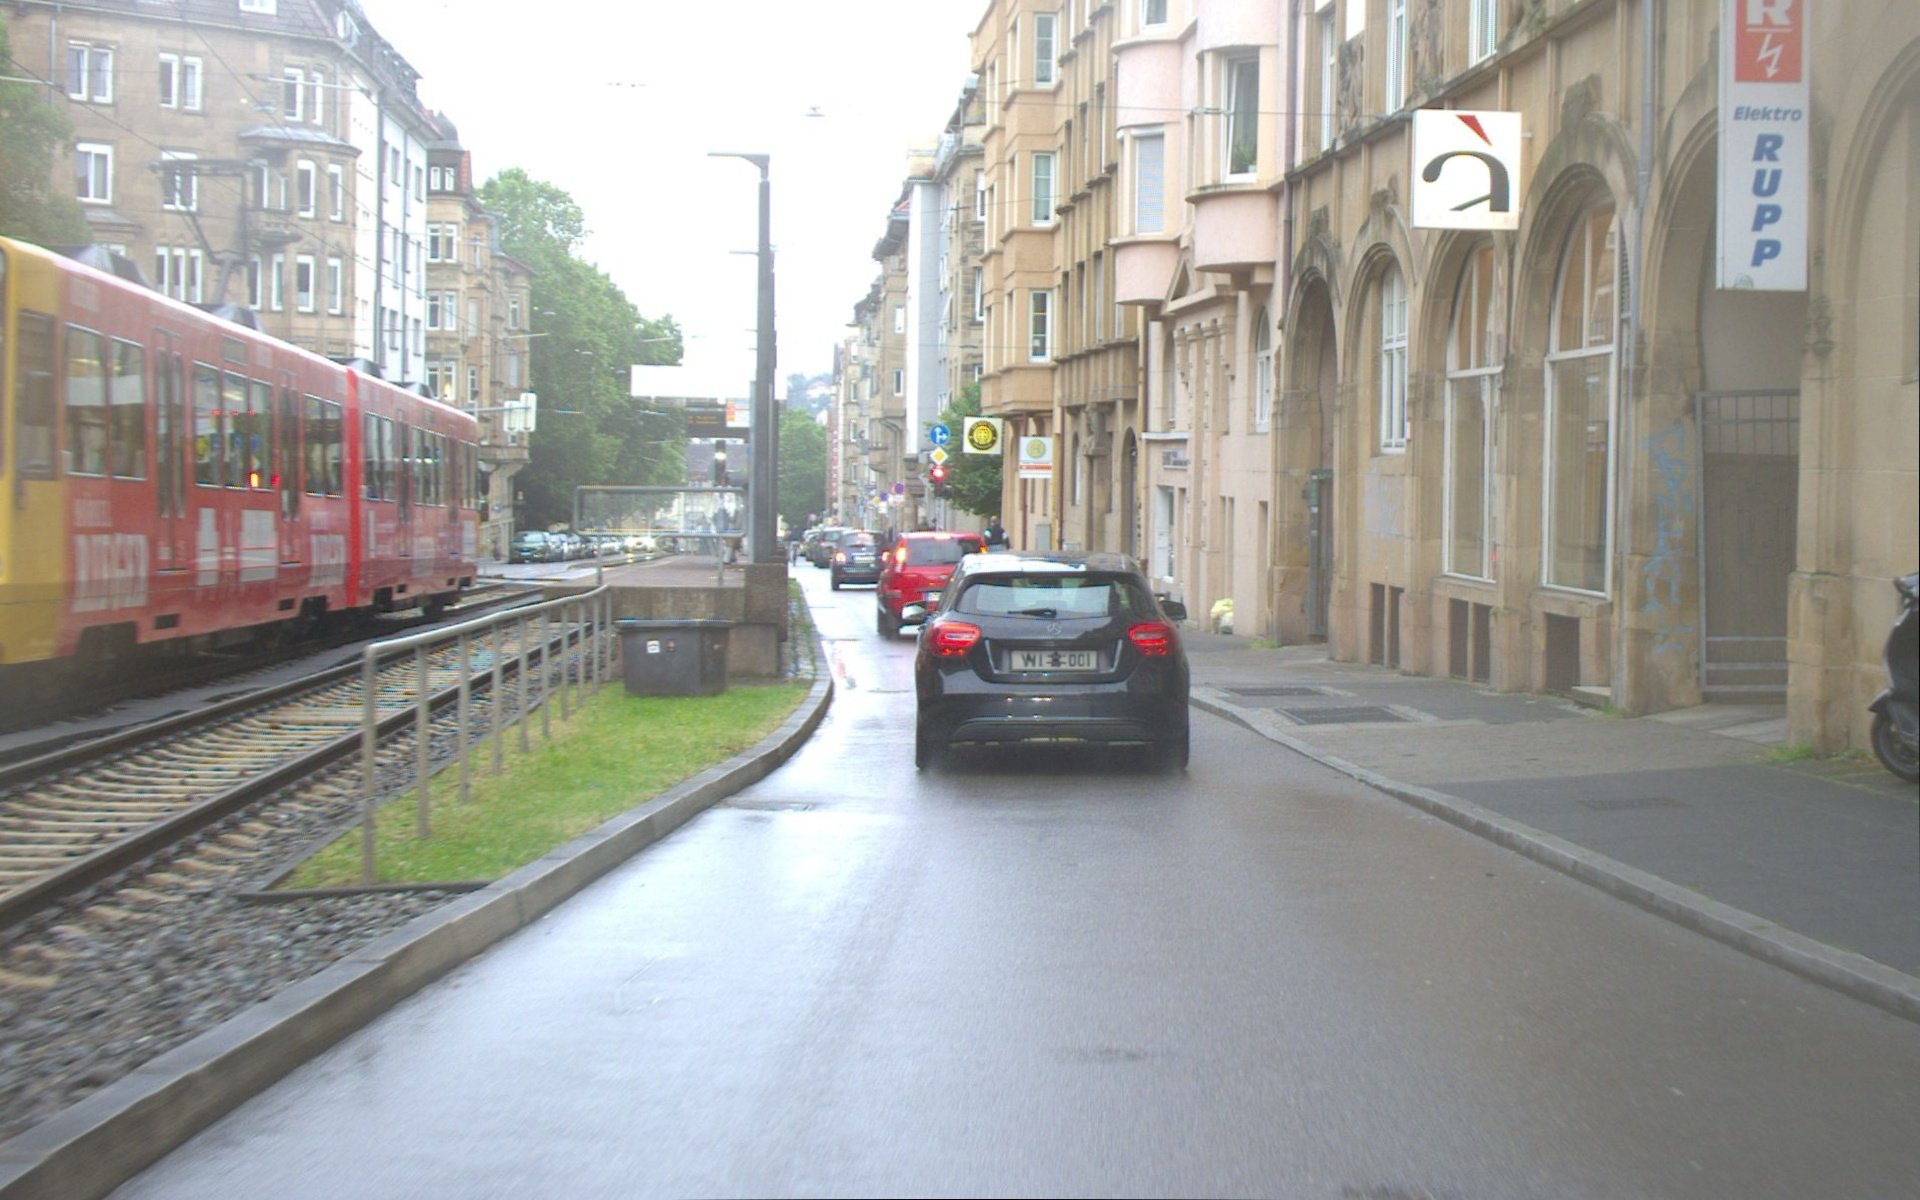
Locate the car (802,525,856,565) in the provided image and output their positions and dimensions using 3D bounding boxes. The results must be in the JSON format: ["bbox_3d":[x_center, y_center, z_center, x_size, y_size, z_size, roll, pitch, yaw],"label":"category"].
[{"bbox_3d":[-5.278,-2.210,138.072,2.134,1.520,4.246,1,1,-2],"label":"car"}]

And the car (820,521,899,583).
[{"bbox_3d":[-2.515,-1.214,86.903,1.887,1.520,4.246,1,1,-1],"label":"car"}]

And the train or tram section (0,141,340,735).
[{"bbox_3d":[-8.198,-1.283,31.966,2.745,4.048,17.217,0,1,-3],"label":"train or tram section"}]

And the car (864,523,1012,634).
[{"bbox_3d":[-0.372,-0.336,50.372,1.993,1.520,4.246,1,1,-2],"label":"car"}]

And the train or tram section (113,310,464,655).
[{"bbox_3d":[-9.007,-1.551,48.201,2.745,4.048,15.664,0,1,-3],"label":"train or tram section"}]

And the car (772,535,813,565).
[{"bbox_3d":[-8.928,-2.681,183.541,2.134,1.520,4.246,1,1,-2],"label":"car"}]

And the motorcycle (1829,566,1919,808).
[{"bbox_3d":[5.033,0.436,17.483,0.556,1.156,2.269,-4,1,-1],"label":"motorcycle"}]

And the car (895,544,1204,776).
[{"bbox_3d":[0.523,0.348,23.395,1.834,1.448,3.902,0,1,-2],"label":"car"}]

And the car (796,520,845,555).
[{"bbox_3d":[-6.291,-2.808,154.721,2.134,1.520,4.246,1,1,-2],"label":"car"}]

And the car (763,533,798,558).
[{"bbox_3d":[-11.187,-3.394,214.172,2.134,1.520,4.246,1,1,-2],"label":"car"}]

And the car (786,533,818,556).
[{"bbox_3d":[-10.665,-3.737,231.993,2.134,1.520,4.246,1,1,-2],"label":"car"}]
